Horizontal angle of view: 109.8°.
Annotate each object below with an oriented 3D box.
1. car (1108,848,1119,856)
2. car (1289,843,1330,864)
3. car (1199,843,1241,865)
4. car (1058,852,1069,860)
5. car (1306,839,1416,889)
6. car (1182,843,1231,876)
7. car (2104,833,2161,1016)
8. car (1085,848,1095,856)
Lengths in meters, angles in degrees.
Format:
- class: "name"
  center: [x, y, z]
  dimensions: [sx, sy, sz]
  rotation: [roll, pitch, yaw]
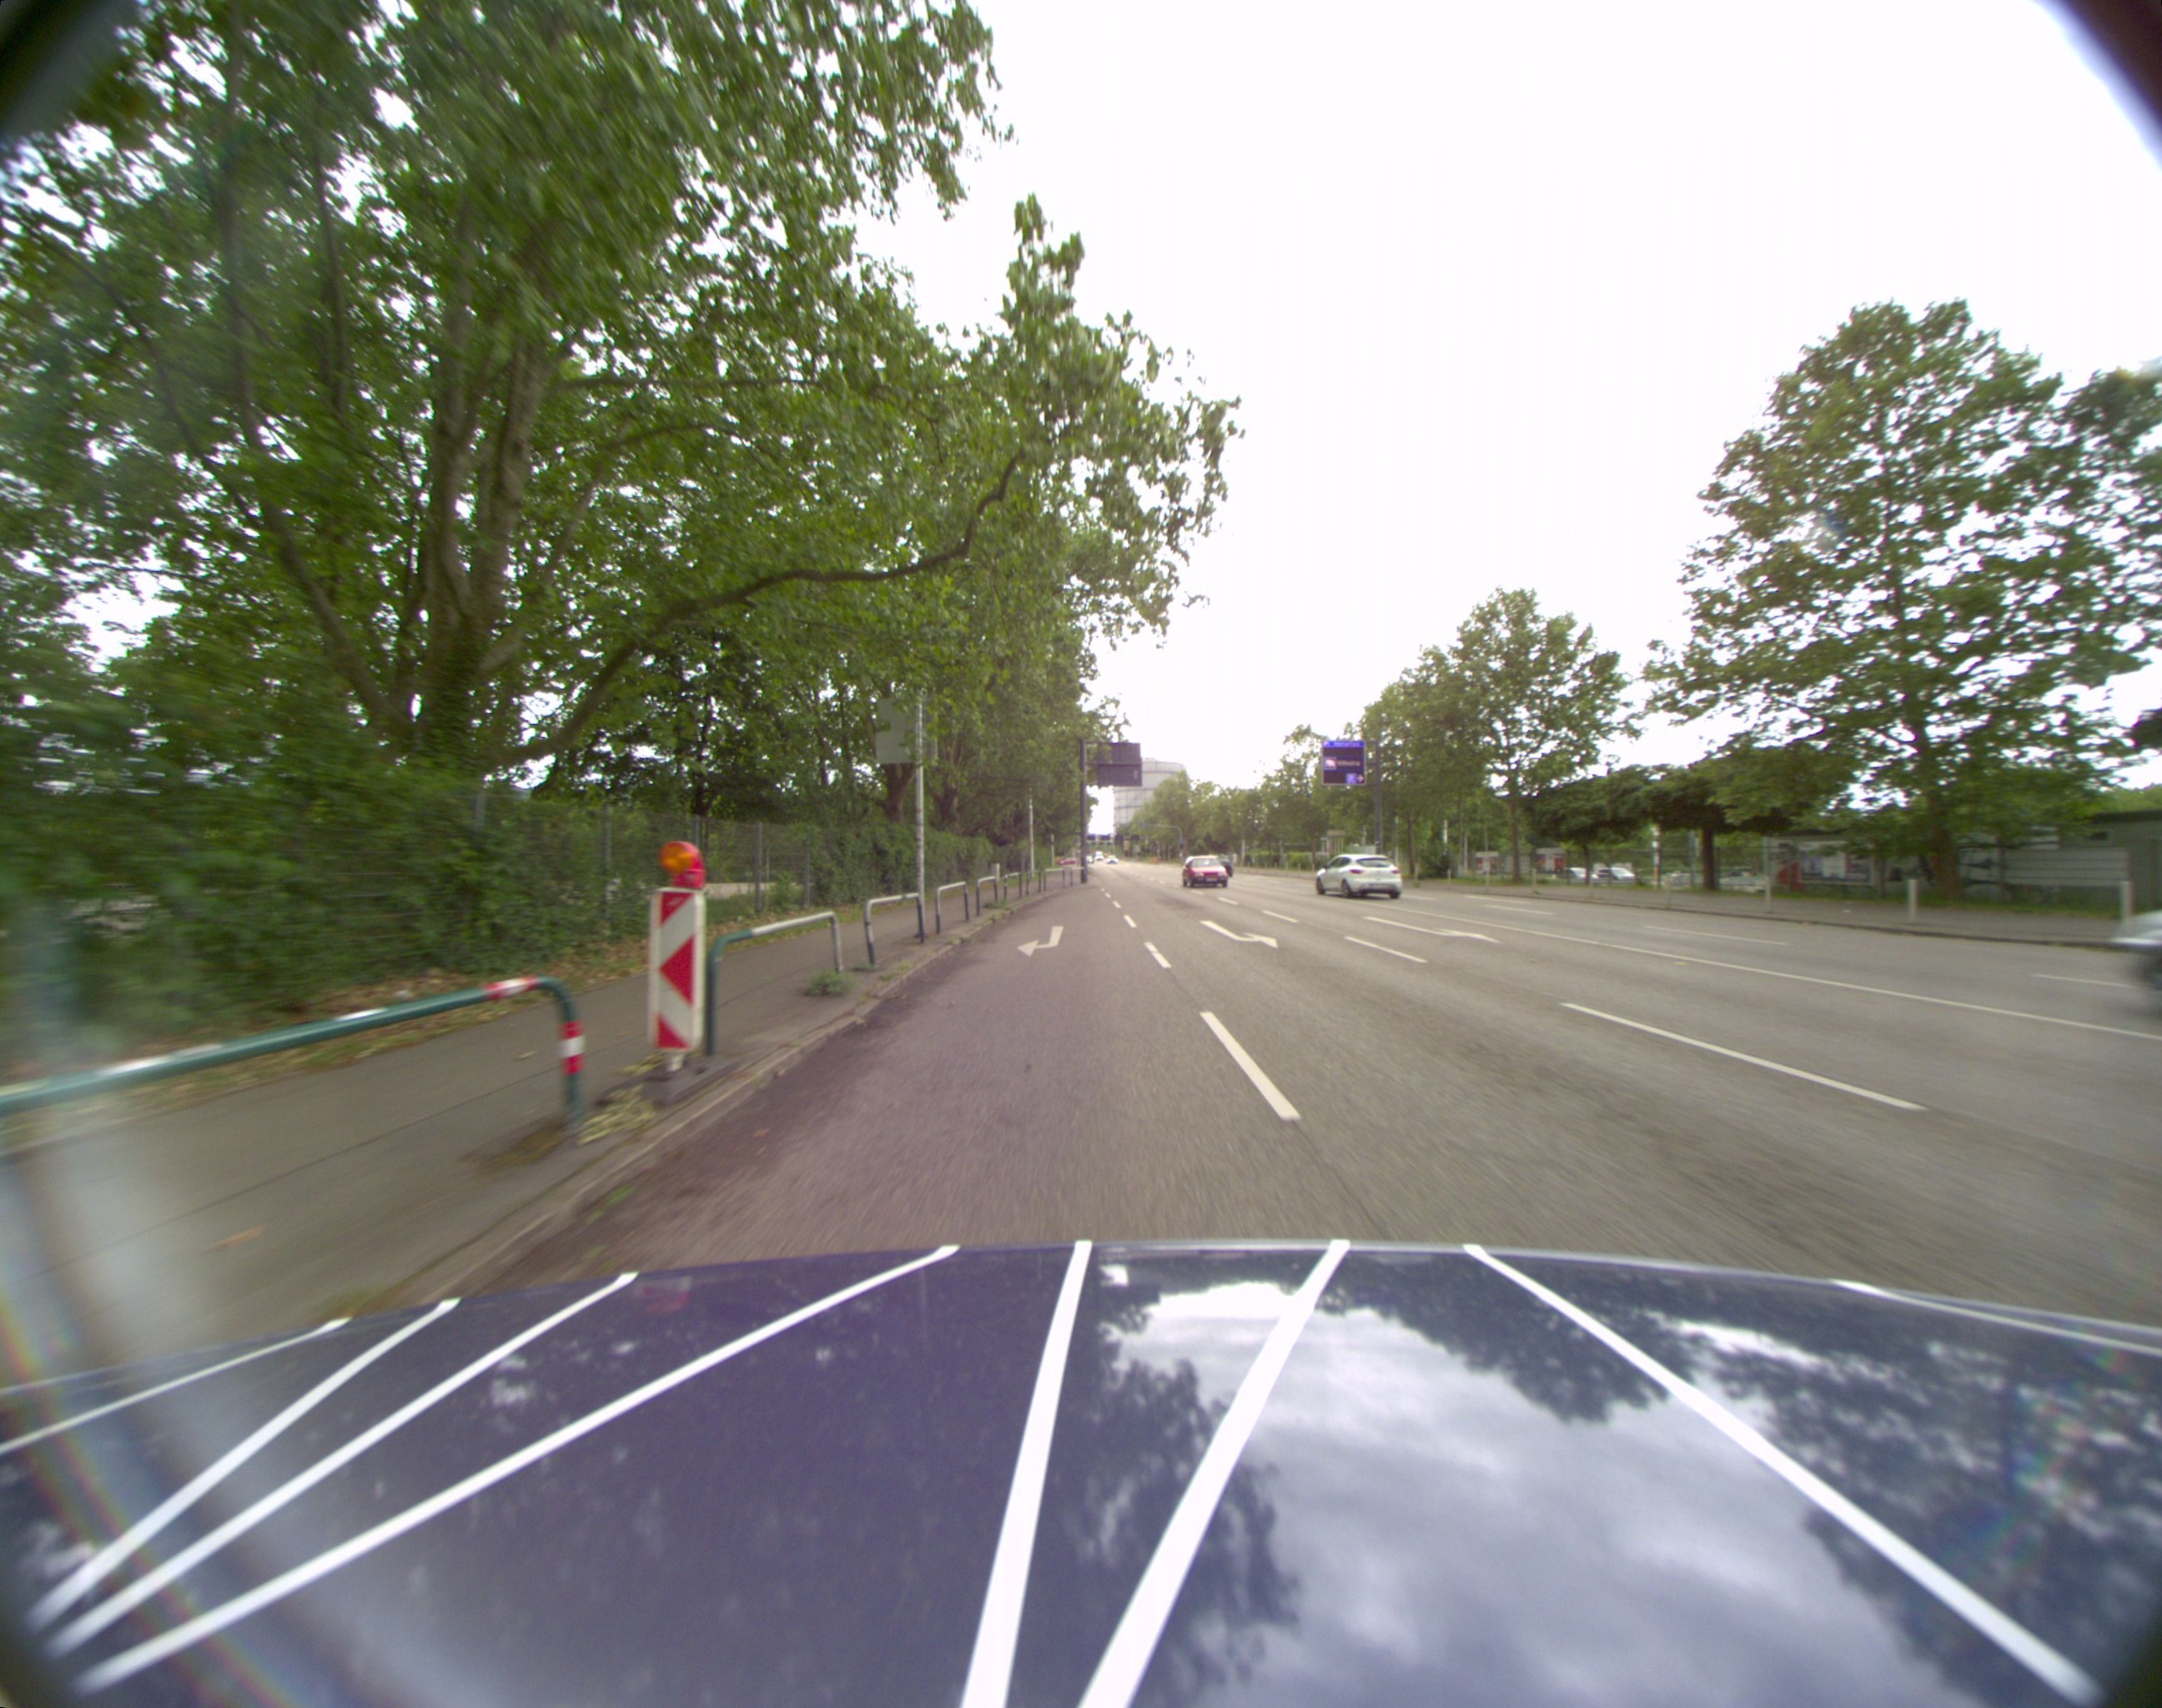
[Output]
- class: "car"
  center: [5.995, -0.411, 140.793]
  dimensions: [1.799, 1.501, 3.999]
  rotation: [0, 1, 0]
- class: "car"
  center: [22.584, -0.081, 75.393]
  dimensions: [2.393, 2.002, 4.633]
  rotation: [0, 1, -4]
- class: "car"
  center: [9.899, -0.014, 54.446]
  dimensions: [1.999, 1.521, 4.725]
  rotation: [1, 0, -1]
- class: "car"
  center: [-3.392, 0.347, 147.830]
  dimensions: [1.798, 1.501, 4.000]
  rotation: [-2, 1, 4]
- class: "car"
  center: [9.286, 0.301, 25.624]
  dimensions: [1.999, 1.521, 4.384]
  rotation: [0, 0, -1]
- class: "car"
  center: [5.778, 0.231, 35.400]
  dimensions: [1.833, 1.443, 4.077]
  rotation: [-1, 1, 3]
- class: "car"
  center: [10.005, 0.611, 4.670]
  dimensions: [1.999, 1.516, 3.999]
  rotation: [0, 1, -1]
- class: "car"
  center: [1.703, -0.354, 144.807]
  dimensions: [1.799, 1.501, 3.999]
  rotation: [0, 1, 0]
